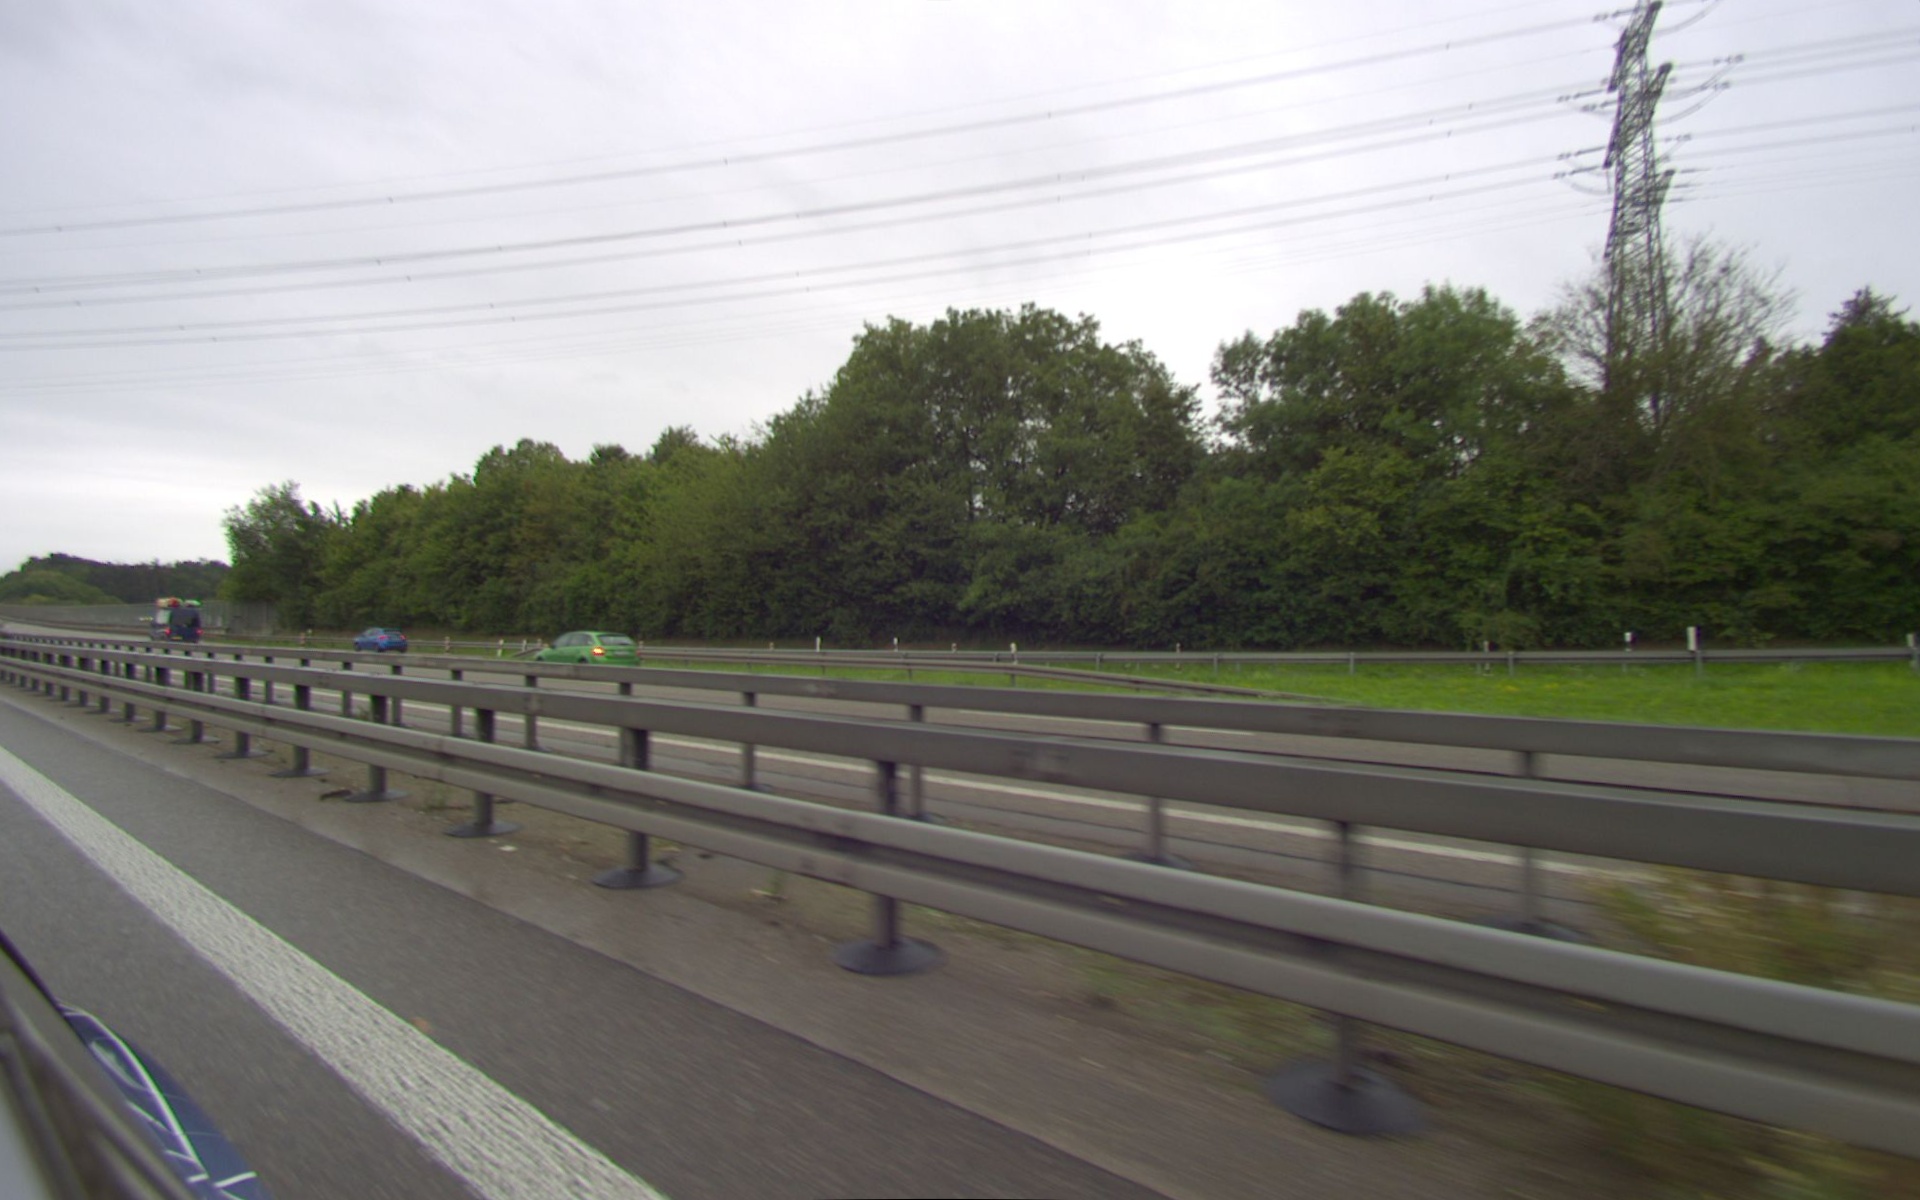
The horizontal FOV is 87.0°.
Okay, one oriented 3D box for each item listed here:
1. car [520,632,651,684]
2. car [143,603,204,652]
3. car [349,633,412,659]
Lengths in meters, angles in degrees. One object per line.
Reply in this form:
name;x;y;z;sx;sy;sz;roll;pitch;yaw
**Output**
car;-11.605;1.747;31.221;4.512;1.505;1.855;-1;-3;41
car;-55.109;1.941;70.857;6.173;3.353;2.230;-1;-3;42
car;-36.739;2.906;64.109;3.990;1.555;1.951;-1;-2;35
